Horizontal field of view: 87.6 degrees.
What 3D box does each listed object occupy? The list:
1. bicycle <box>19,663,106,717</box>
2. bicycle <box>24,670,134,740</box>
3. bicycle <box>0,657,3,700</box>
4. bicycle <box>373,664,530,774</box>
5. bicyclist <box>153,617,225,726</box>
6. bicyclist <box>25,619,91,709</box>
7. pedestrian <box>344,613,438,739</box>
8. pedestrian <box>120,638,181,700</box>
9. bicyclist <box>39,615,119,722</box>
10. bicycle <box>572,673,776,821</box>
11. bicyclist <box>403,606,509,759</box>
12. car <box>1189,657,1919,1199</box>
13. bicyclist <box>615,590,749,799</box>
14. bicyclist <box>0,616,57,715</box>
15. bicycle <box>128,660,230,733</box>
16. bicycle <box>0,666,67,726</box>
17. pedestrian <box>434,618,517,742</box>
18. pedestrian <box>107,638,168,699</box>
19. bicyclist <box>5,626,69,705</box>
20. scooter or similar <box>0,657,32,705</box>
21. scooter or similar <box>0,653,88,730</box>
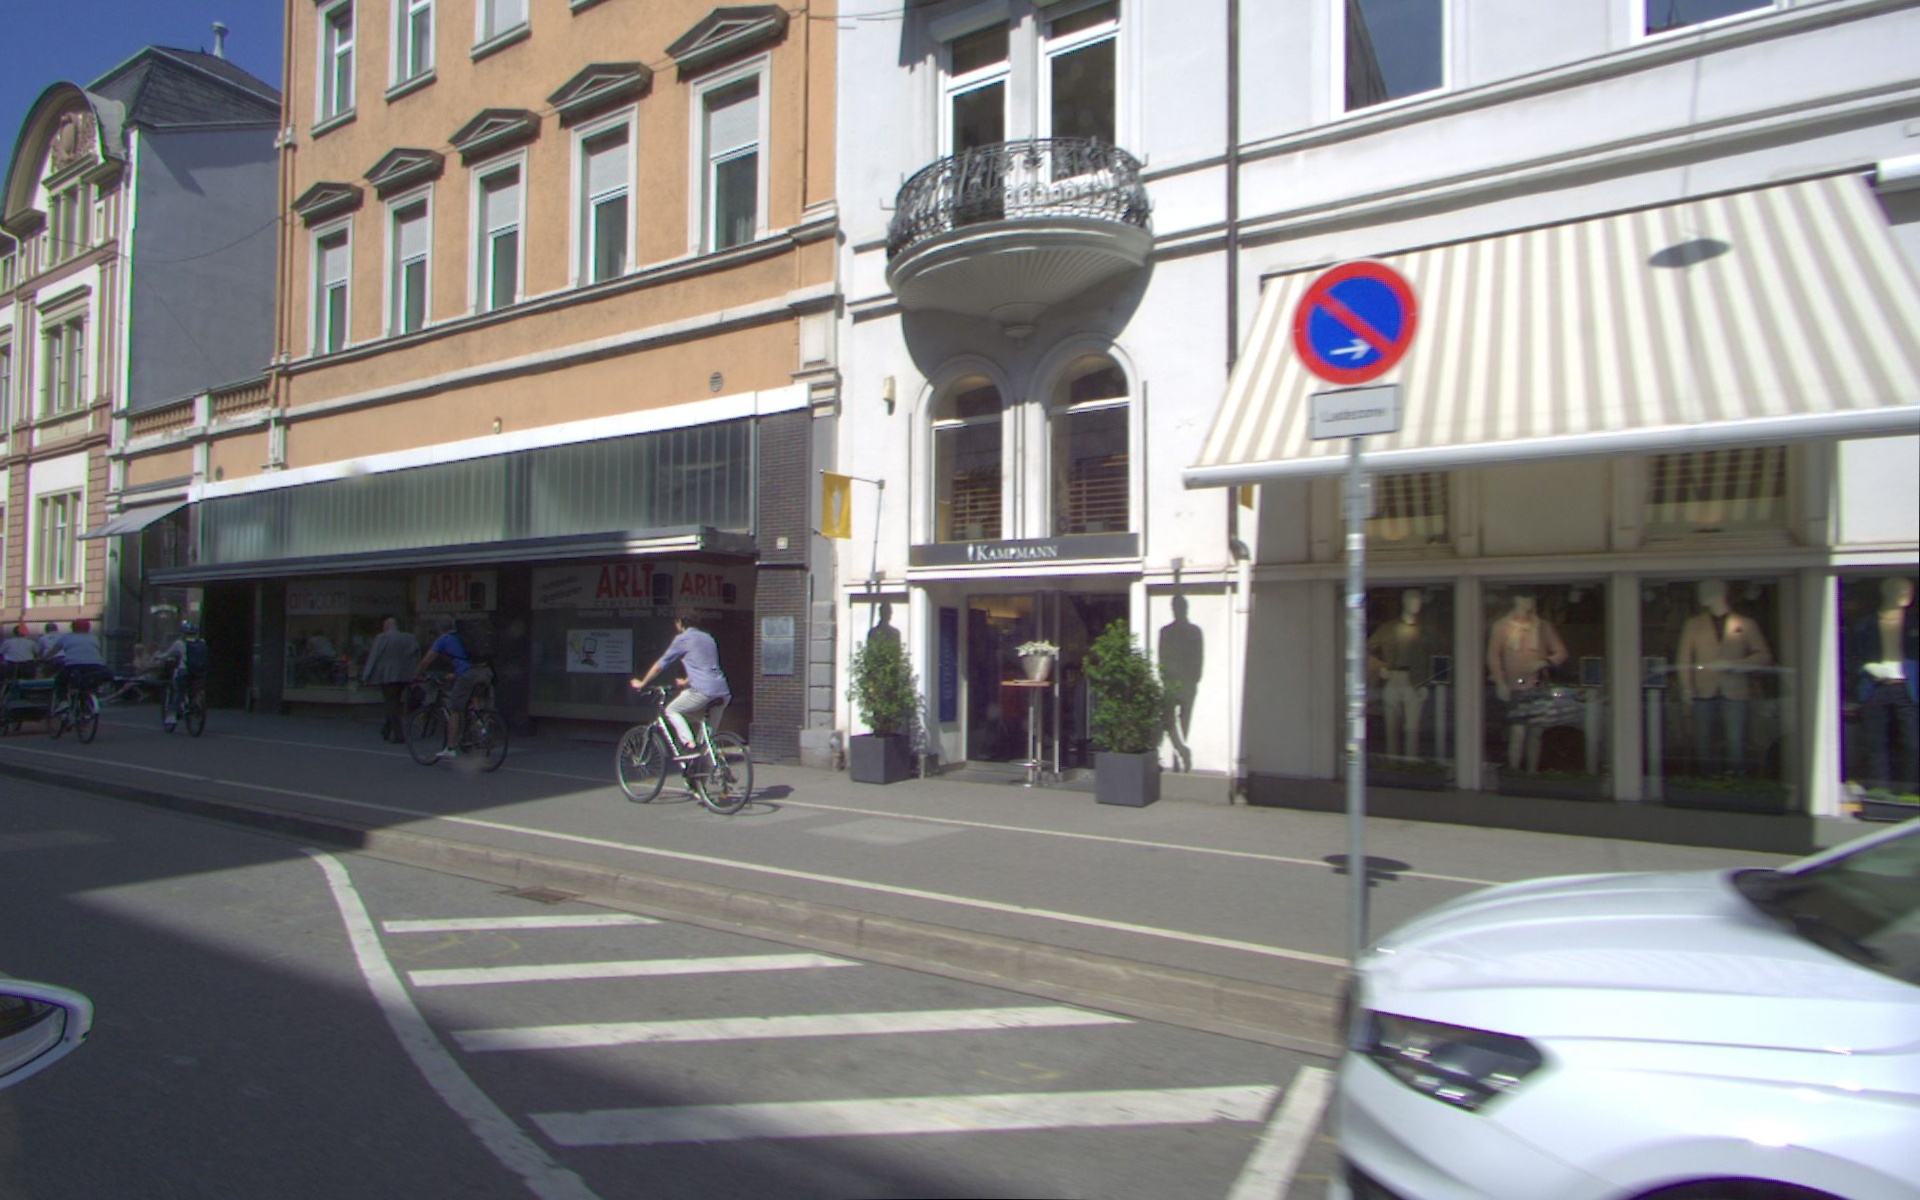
[{"bbox_3d":[-16.468,1.628,18.363,2.073,0.890,0.646,-1,-2,33],"label":"bicycle"},{"bbox_3d":[-12.764,1.492,14.489,2.073,0.891,0.645,-1,-2,33],"label":"bicycle"},{"bbox_3d":[-21.041,1.636,21.128,2.108,0.890,0.739,-1,-3,33],"label":"bicycle"},{"bbox_3d":[-5.949,1.342,11.671,2.073,1.134,0.646,-1,-2,32],"label":"bicycle"},{"bbox_3d":[-11.825,1.079,15.358,0.907,1.615,0.581,0,-2,33],"label":"bicyclist"},{"bbox_3d":[-16.589,1.165,18.419,0.907,1.615,0.657,-1,-2,33],"label":"bicyclist"},{"bbox_3d":[-8.185,1.079,14.428,0.823,1.739,0.877,-2,-3,31],"label":"pedestrian"},{"bbox_3d":[-17.743,1.494,21.949,0.560,1.285,0.933,0,0,37],"label":"pedestrian"},{"bbox_3d":[-12.701,0.970,14.439,0.877,1.495,0.624,0,-2,33],"label":"bicyclist"},{"bbox_3d":[-2.636,1.283,9.130,2.042,1.135,0.554,0,0,31],"label":"bicycle"},{"bbox_3d":[-5.878,0.938,11.684,0.998,1.706,0.646,0,-2,32],"label":"bicyclist"},{"bbox_3d":[2.879,0.944,1.772,4.509,1.484,1.813,0,-4,28],"label":"car"},{"bbox_3d":[-2.529,0.826,9.109,0.998,1.792,0.646,0,-2,32],"label":"bicyclist"},{"bbox_3d":[-15.814,1.092,16.885,0.907,1.615,0.631,-1,-2,33],"label":"bicyclist"},{"bbox_3d":[-12.009,1.452,15.377,2.073,1.009,0.562,-1,-2,33],"label":"bicycle"},{"bbox_3d":[-15.931,1.597,16.928,2.355,0.891,0.645,-1,-1,33],"label":"bicycle"},{"bbox_3d":[-6.938,1.126,14.346,0.931,1.706,0.646,0,-2,32],"label":"pedestrian"},{"bbox_3d":[-18.278,1.506,22.259,0.560,1.285,0.933,0,0,37],"label":"pedestrian"},{"bbox_3d":[-15.171,1.059,16.459,0.599,1.264,0.622,0,-2,33],"label":"bicyclist"},{"bbox_3d":[-19.590,1.641,20.301,1.148,0.931,0.851,-1,-2,33],"label":"scooter or similar"},{"bbox_3d":[-14.601,1.421,15.805,1.598,1.136,0.869,-3,-2,33],"label":"scooter or similar"}]
